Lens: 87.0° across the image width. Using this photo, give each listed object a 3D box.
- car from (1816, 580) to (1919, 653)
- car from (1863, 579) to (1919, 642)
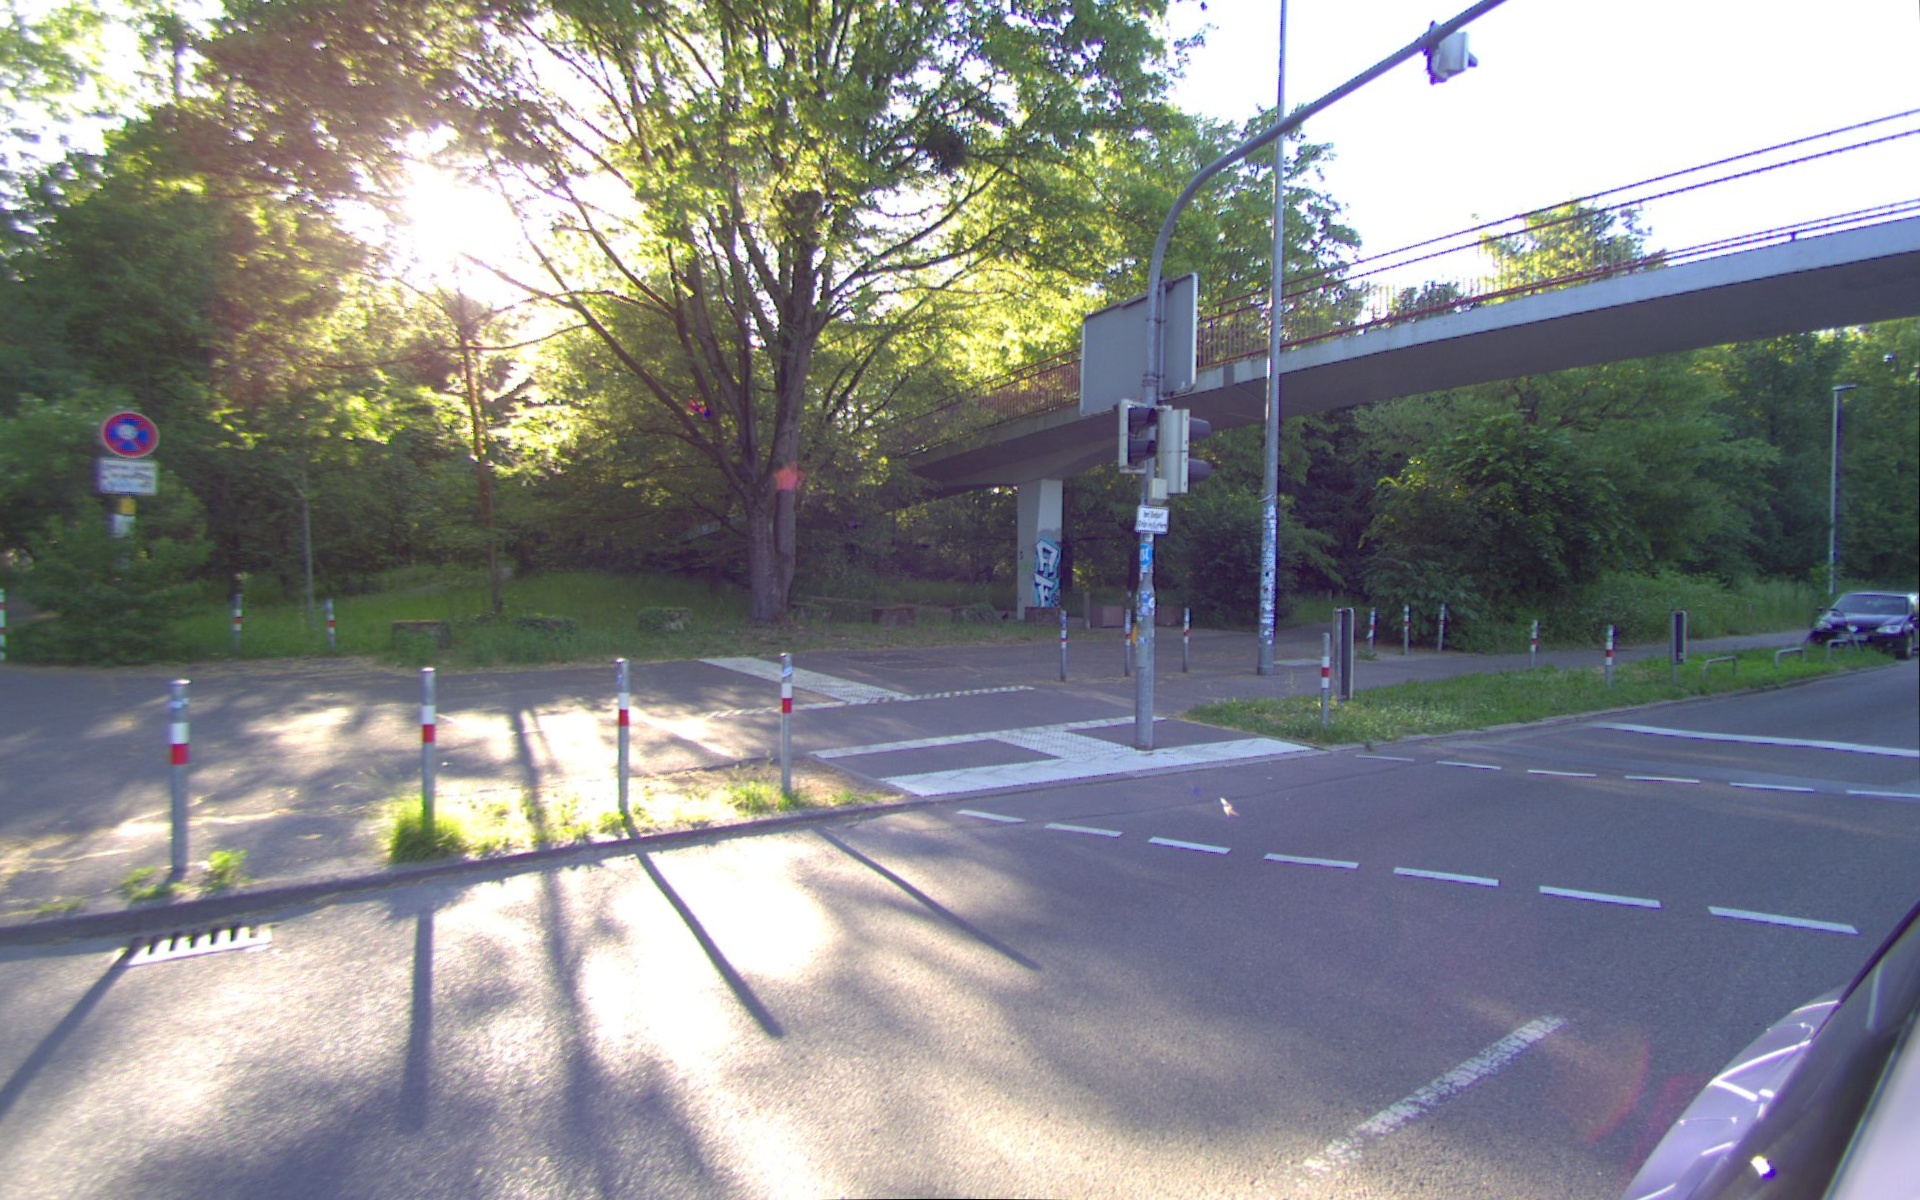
[{"bbox_3d":[21.344,0.311,23.327,4.051,1.526,1.694,-1,2,-38],"label":"car"},{"bbox_3d":[25.145,0.240,26.375,3.904,1.526,1.721,-1,3,-38],"label":"car"}]
